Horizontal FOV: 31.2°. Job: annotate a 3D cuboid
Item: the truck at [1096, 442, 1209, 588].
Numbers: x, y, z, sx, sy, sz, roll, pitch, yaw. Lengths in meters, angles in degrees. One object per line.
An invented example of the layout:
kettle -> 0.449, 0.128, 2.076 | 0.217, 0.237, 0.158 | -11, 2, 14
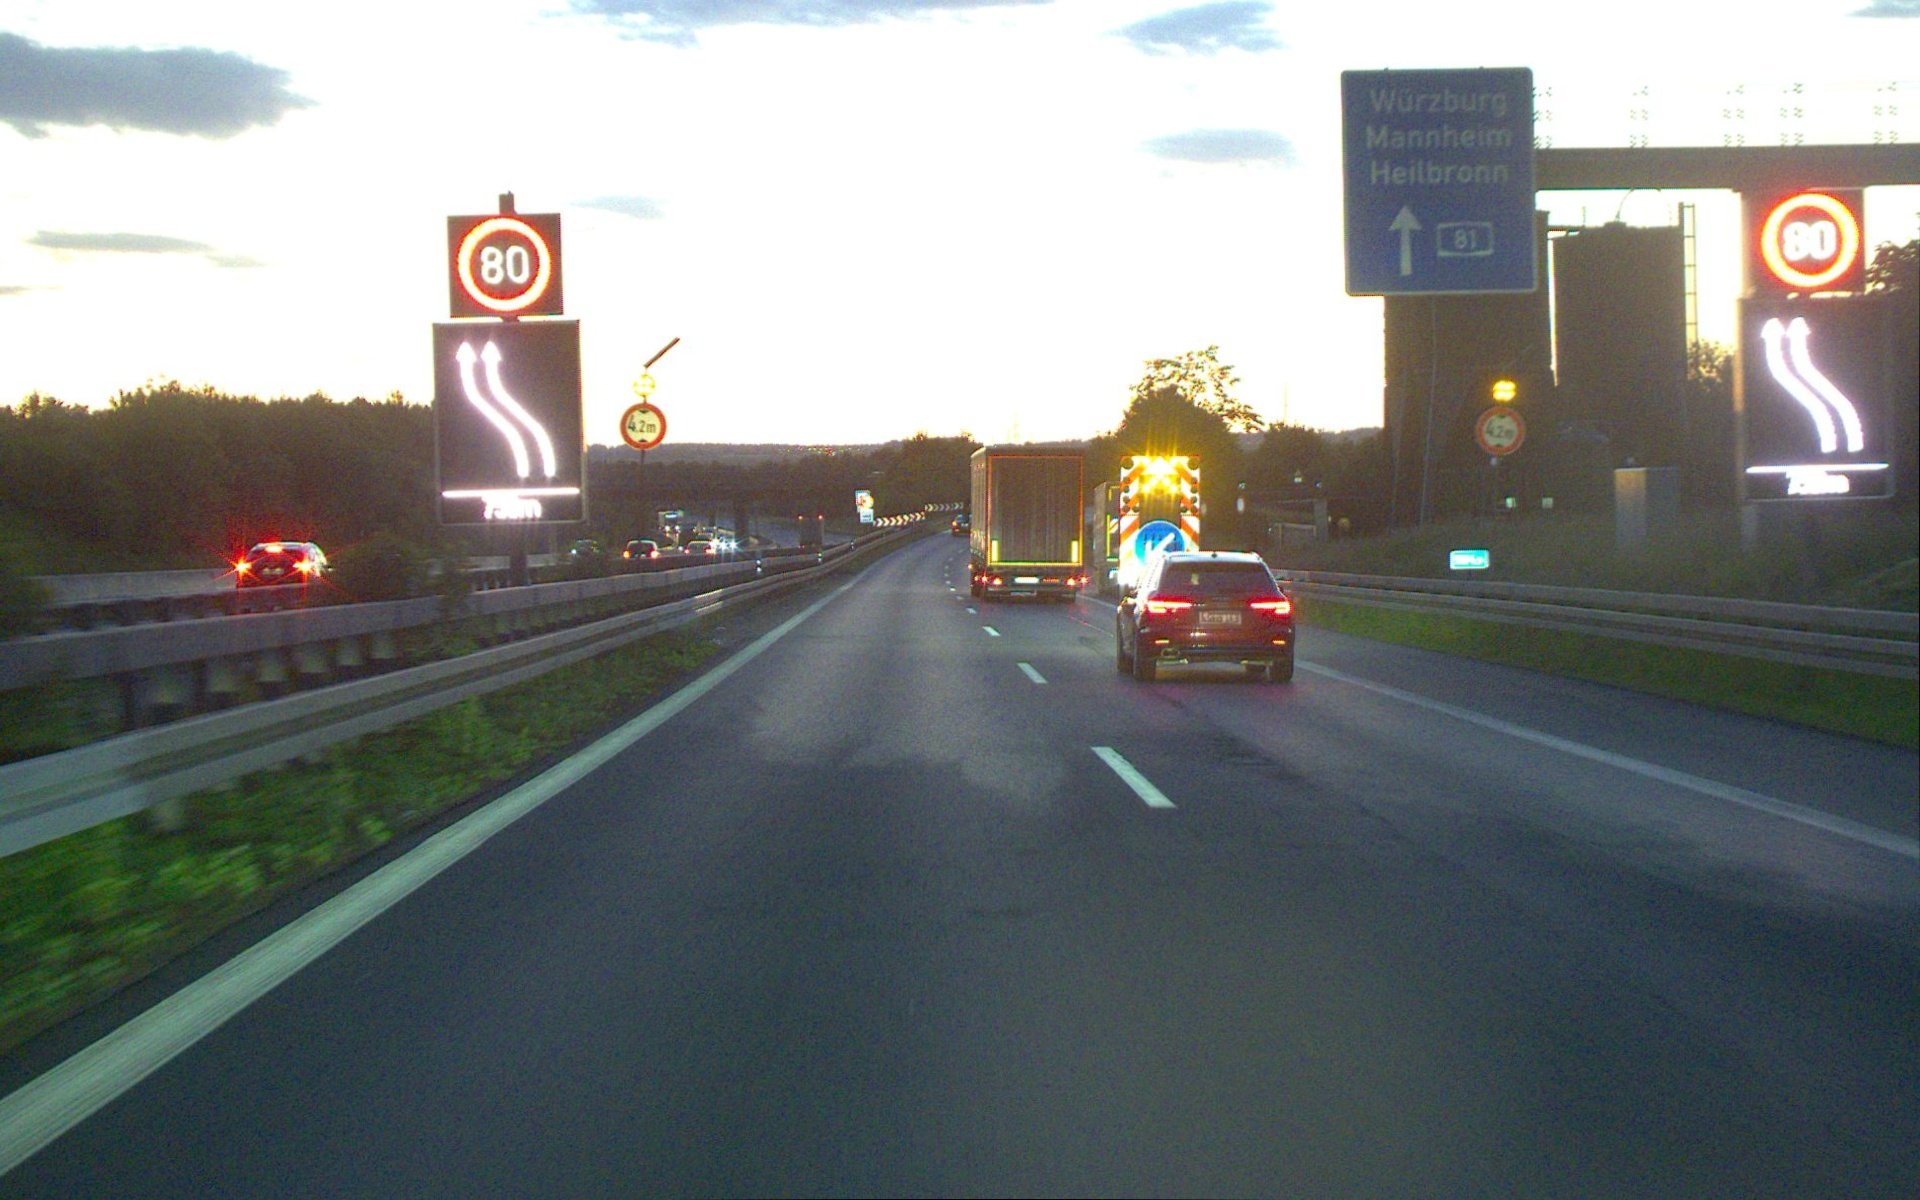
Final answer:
truck -> 5.490, -2.425, 98.822 | 2.787, 4.045, 6.412 | 0, 1, -1

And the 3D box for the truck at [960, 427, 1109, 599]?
truck -> 1.902, -2.286, 92.460 | 3.509, 4.286, 9.892 | -2, 1, -1

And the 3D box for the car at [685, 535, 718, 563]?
car -> -14.713, -2.900, 195.807 | 1.638, 1.541, 3.395 | -2, 1, 0

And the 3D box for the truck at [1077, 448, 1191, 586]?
truck -> 5.313, -2.538, 106.620 | 2.913, 4.097, 9.150 | 0, 1, -1

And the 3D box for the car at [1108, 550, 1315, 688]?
car -> 2.826, 0.177, 39.413 | 1.915, 1.437, 4.000 | -2, 1, -2

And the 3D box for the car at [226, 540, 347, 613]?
car -> -15.151, -0.549, 77.581 | 1.872, 1.556, 4.520 | -2, 1, -1

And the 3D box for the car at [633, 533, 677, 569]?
car -> -14.157, -2.289, 159.891 | 1.713, 1.600, 3.722 | -2, 1, -1
